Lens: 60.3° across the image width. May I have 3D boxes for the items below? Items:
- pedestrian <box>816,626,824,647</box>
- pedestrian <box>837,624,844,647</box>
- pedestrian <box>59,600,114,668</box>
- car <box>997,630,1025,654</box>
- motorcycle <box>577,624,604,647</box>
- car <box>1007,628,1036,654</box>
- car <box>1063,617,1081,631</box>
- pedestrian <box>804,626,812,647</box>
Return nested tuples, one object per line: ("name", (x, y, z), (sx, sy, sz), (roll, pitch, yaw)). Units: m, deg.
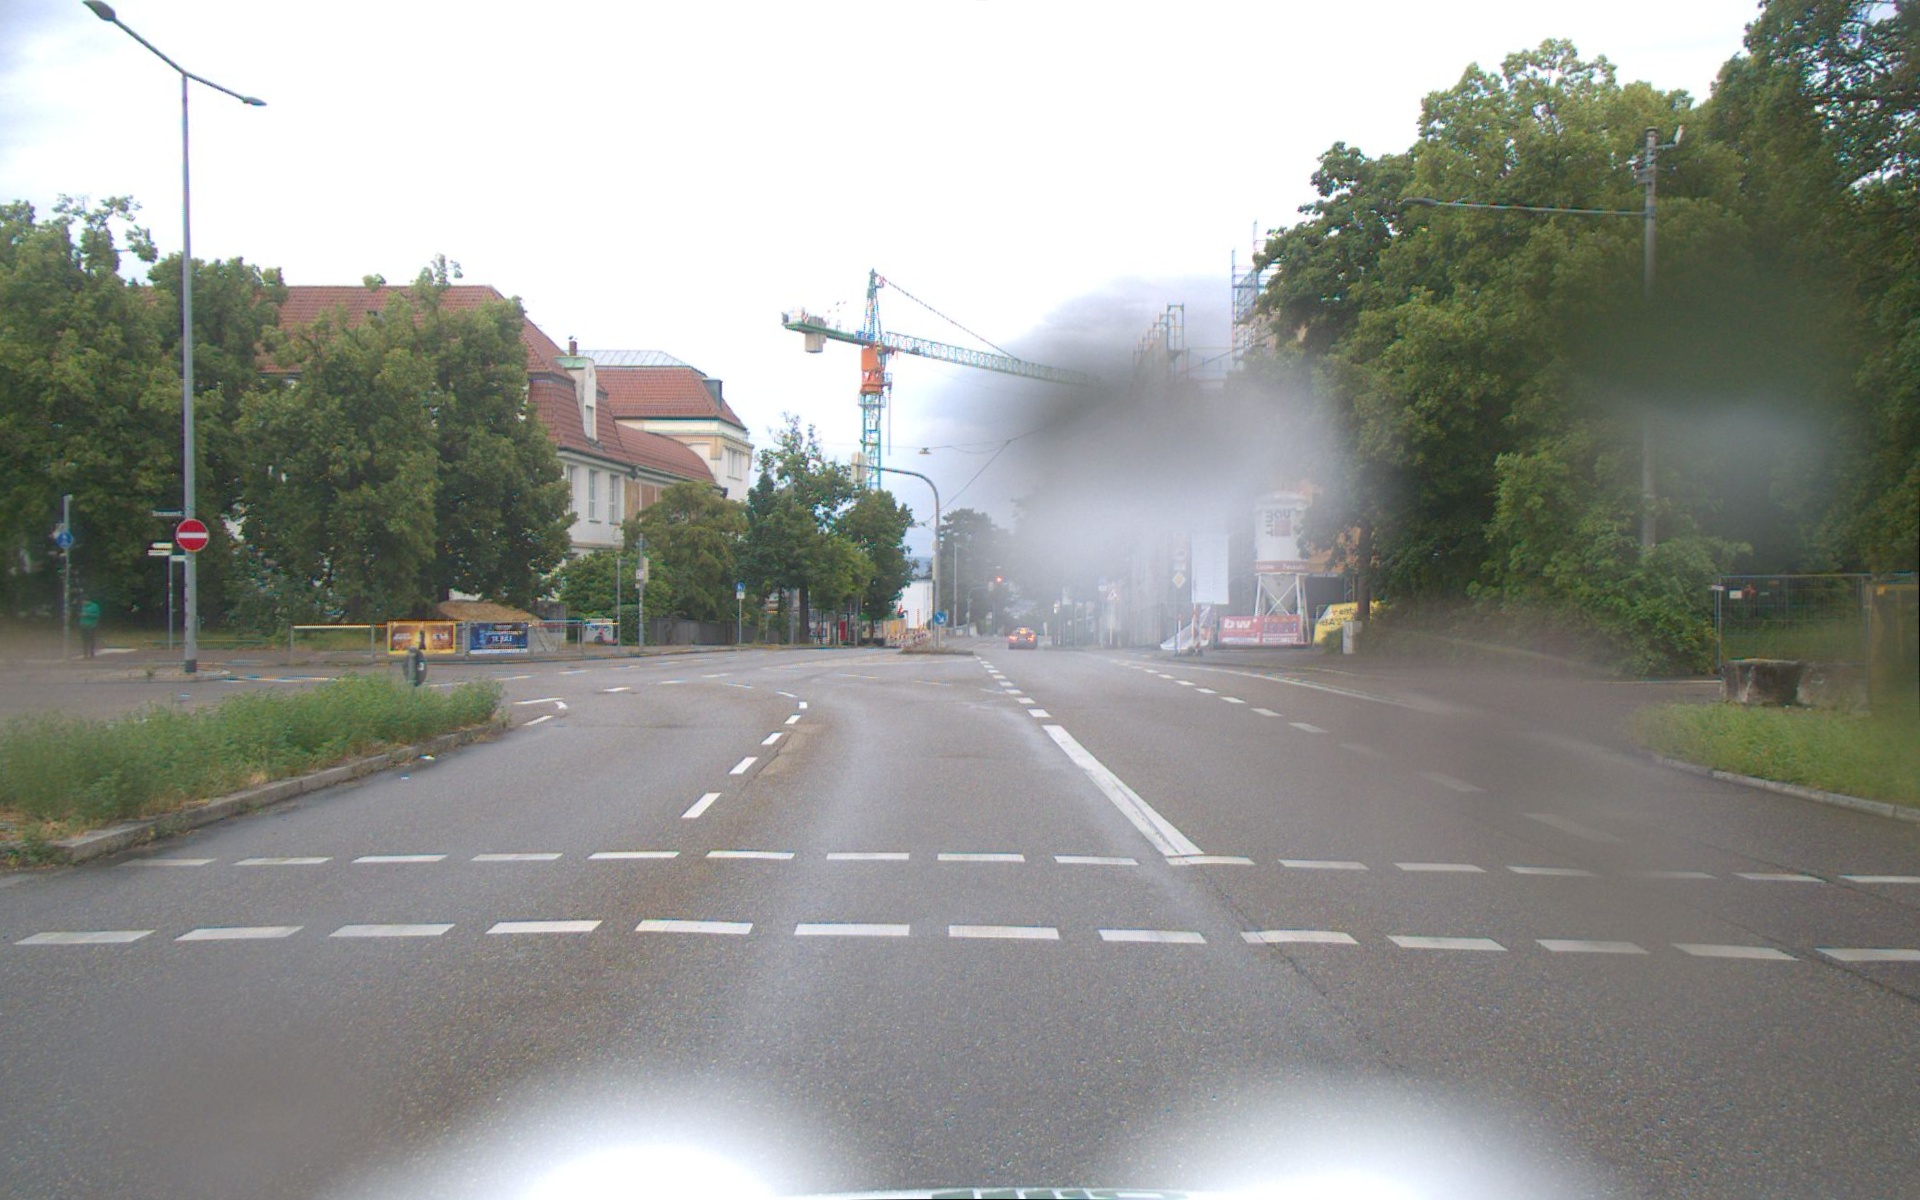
("pedestrian", (-9.604, 2.474, 113.453), (0.465, 1.421, 0.411), (0, 0, -1))
("pedestrian", (-8.745, 2.576, 121.096), (0.484, 1.674, 0.533), (1, -1, -7))
("pedestrian", (-23.152, 0.887, 43.864), (0.903, 1.757, 0.946), (1, -1, 3))
("car", (4.040, 3.328, 131.710), (1.953, 1.780, 3.999), (-1, 0, -1))
("motorcycle", (-14.418, 1.375, 64.522), (0.832, 0.893, 0.877), (1, 0, -1))
("car", (4.601, 3.078, 124.927), (1.953, 1.780, 3.999), (-1, 0, -1))
("car", (14.913, 3.133, 219.515), (1.951, 1.780, 4.003), (-1, 0, 10))
("pedestrian", (-10.419, 2.473, 113.458), (0.465, 1.421, 0.411), (0, 0, -1))
